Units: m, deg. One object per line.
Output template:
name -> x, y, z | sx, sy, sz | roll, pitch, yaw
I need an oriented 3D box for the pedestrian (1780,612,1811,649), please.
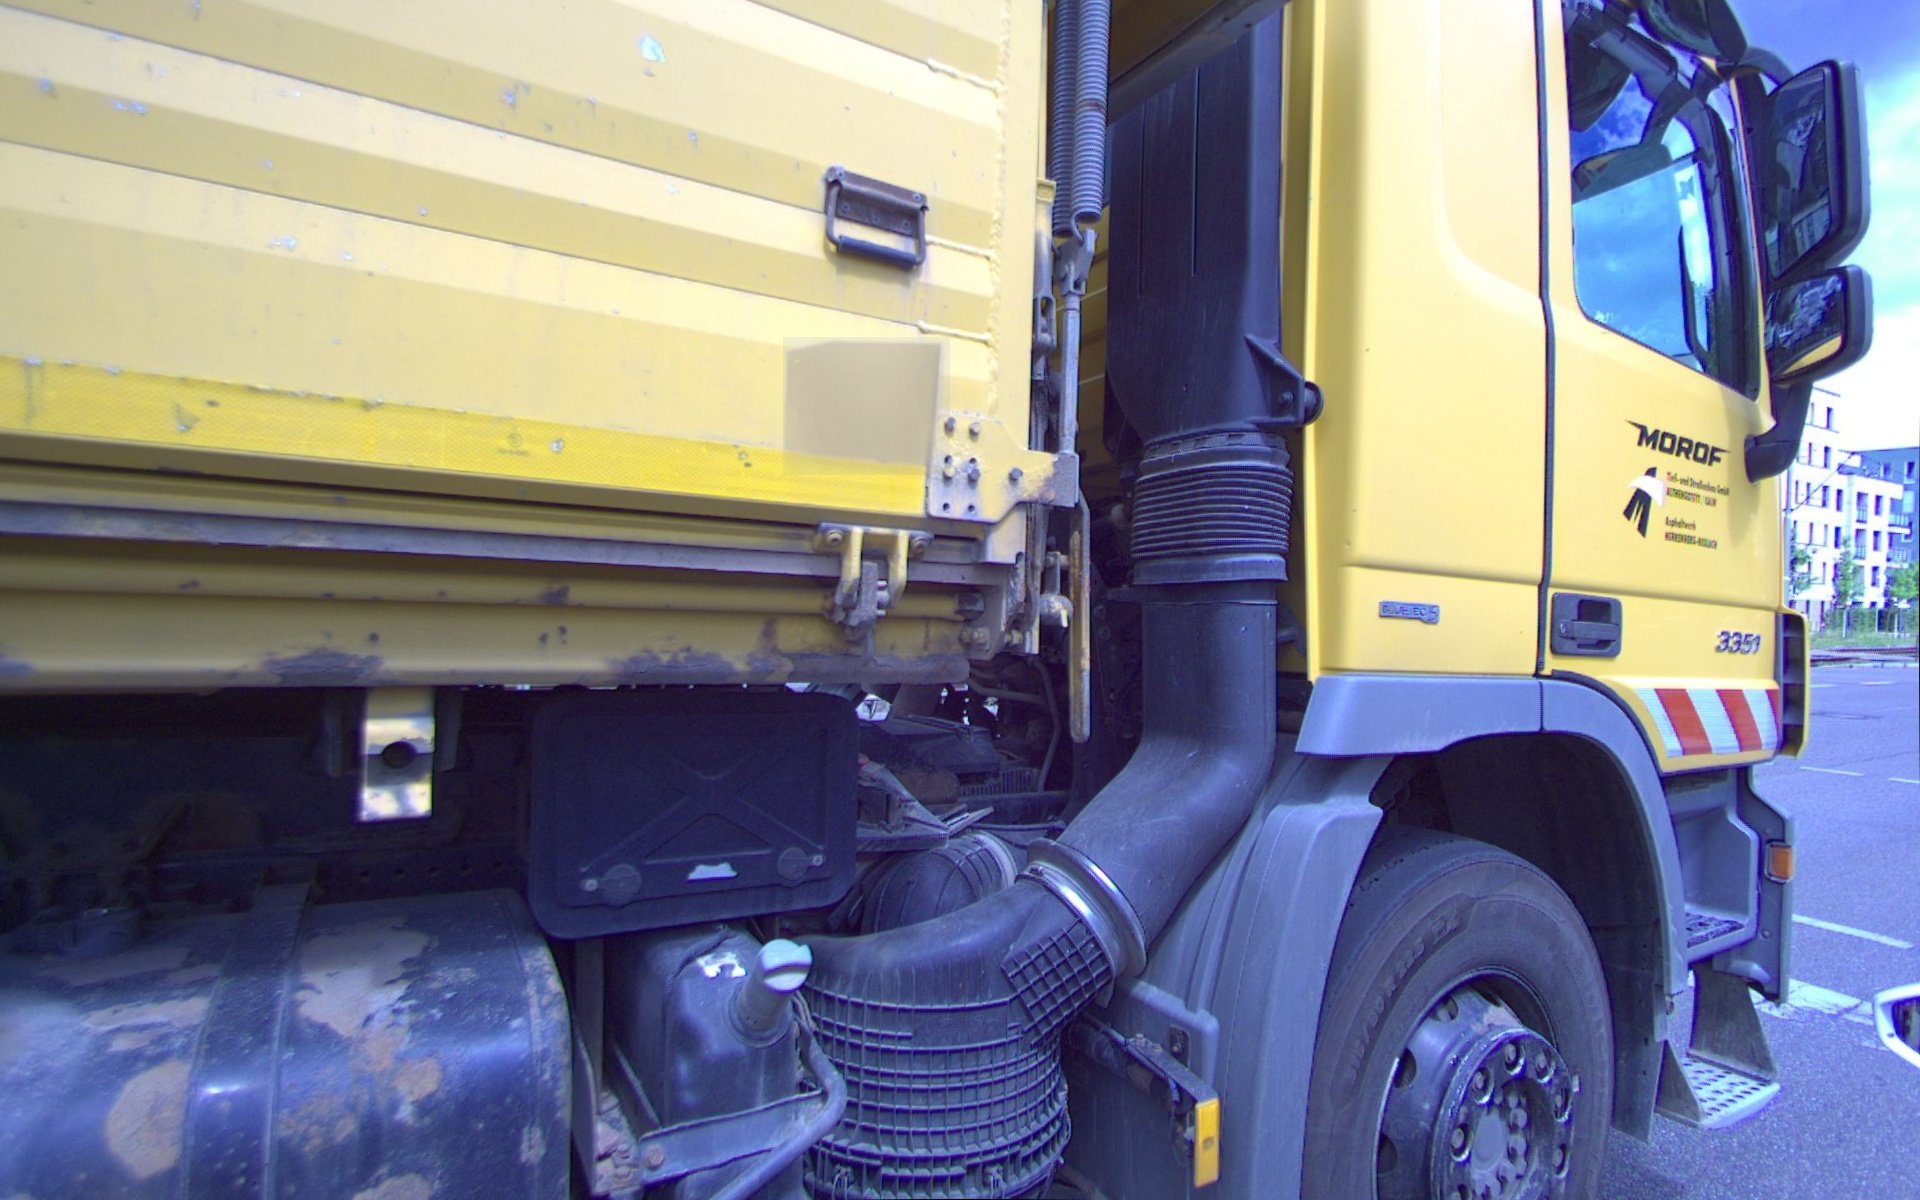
pedestrian -> 35.538, 1.303, 42.708 | 0.628, 1.536, 0.827 | 1, 0, -30

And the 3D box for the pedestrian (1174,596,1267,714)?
pedestrian -> 3.633, 0.741, 14.036 | 0.836, 1.573, 0.939 | 1, 0, -38

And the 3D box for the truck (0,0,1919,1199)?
truck -> -1.634, -0.231, 1.681 | 7.916, 3.439, 3.033 | 1, 0, -32
